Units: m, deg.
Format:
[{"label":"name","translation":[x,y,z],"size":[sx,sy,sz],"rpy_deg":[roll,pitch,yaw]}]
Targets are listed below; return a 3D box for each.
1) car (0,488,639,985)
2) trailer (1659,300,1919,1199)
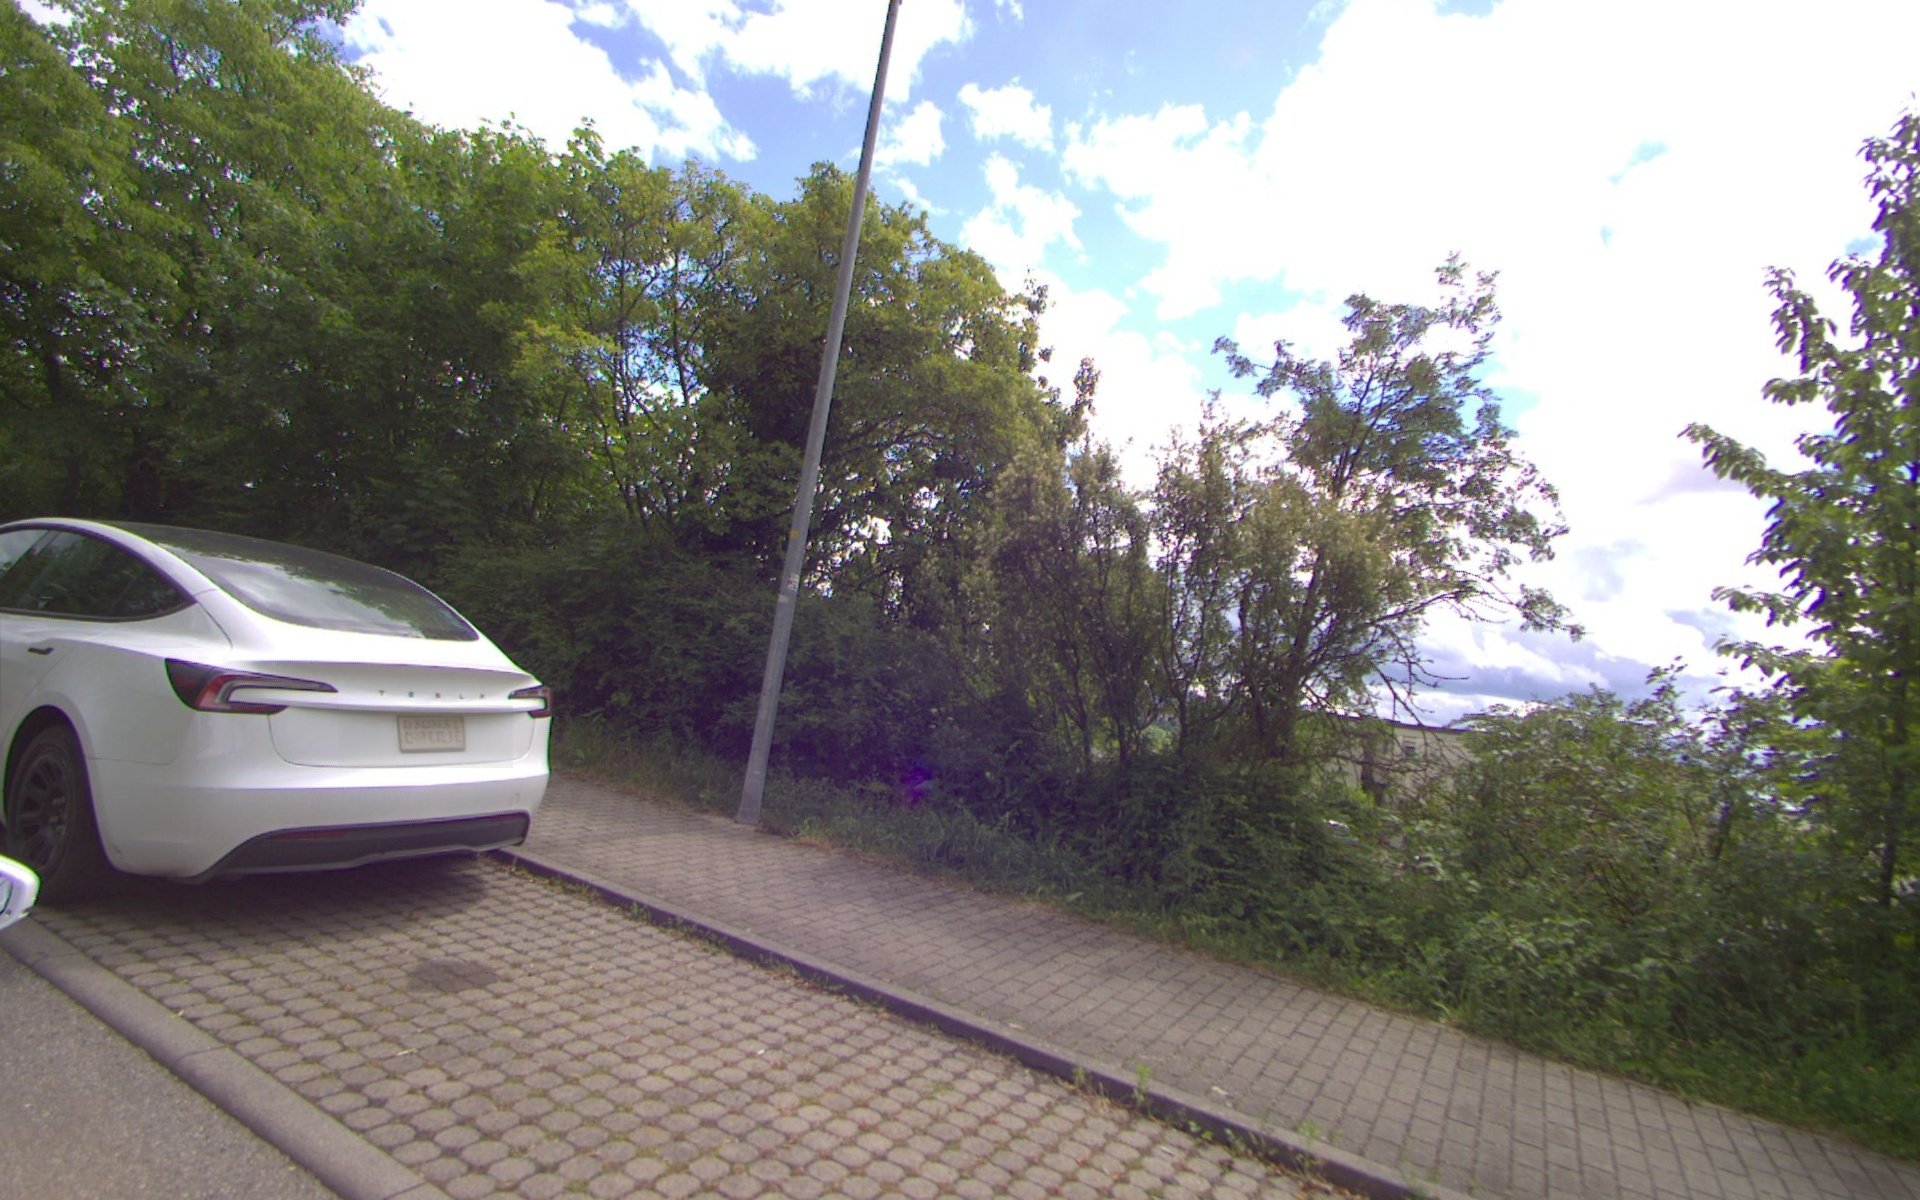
[{"label":"car","translation":[-4.198,0.299,5.176],"size":[4.816,1.494,1.868],"rpy_deg":[8,-2,28]},{"label":"trailer","translation":[3.119,0.869,0.992],"size":[3.720,2.102,1.734],"rpy_deg":[6,-2,31]}]
